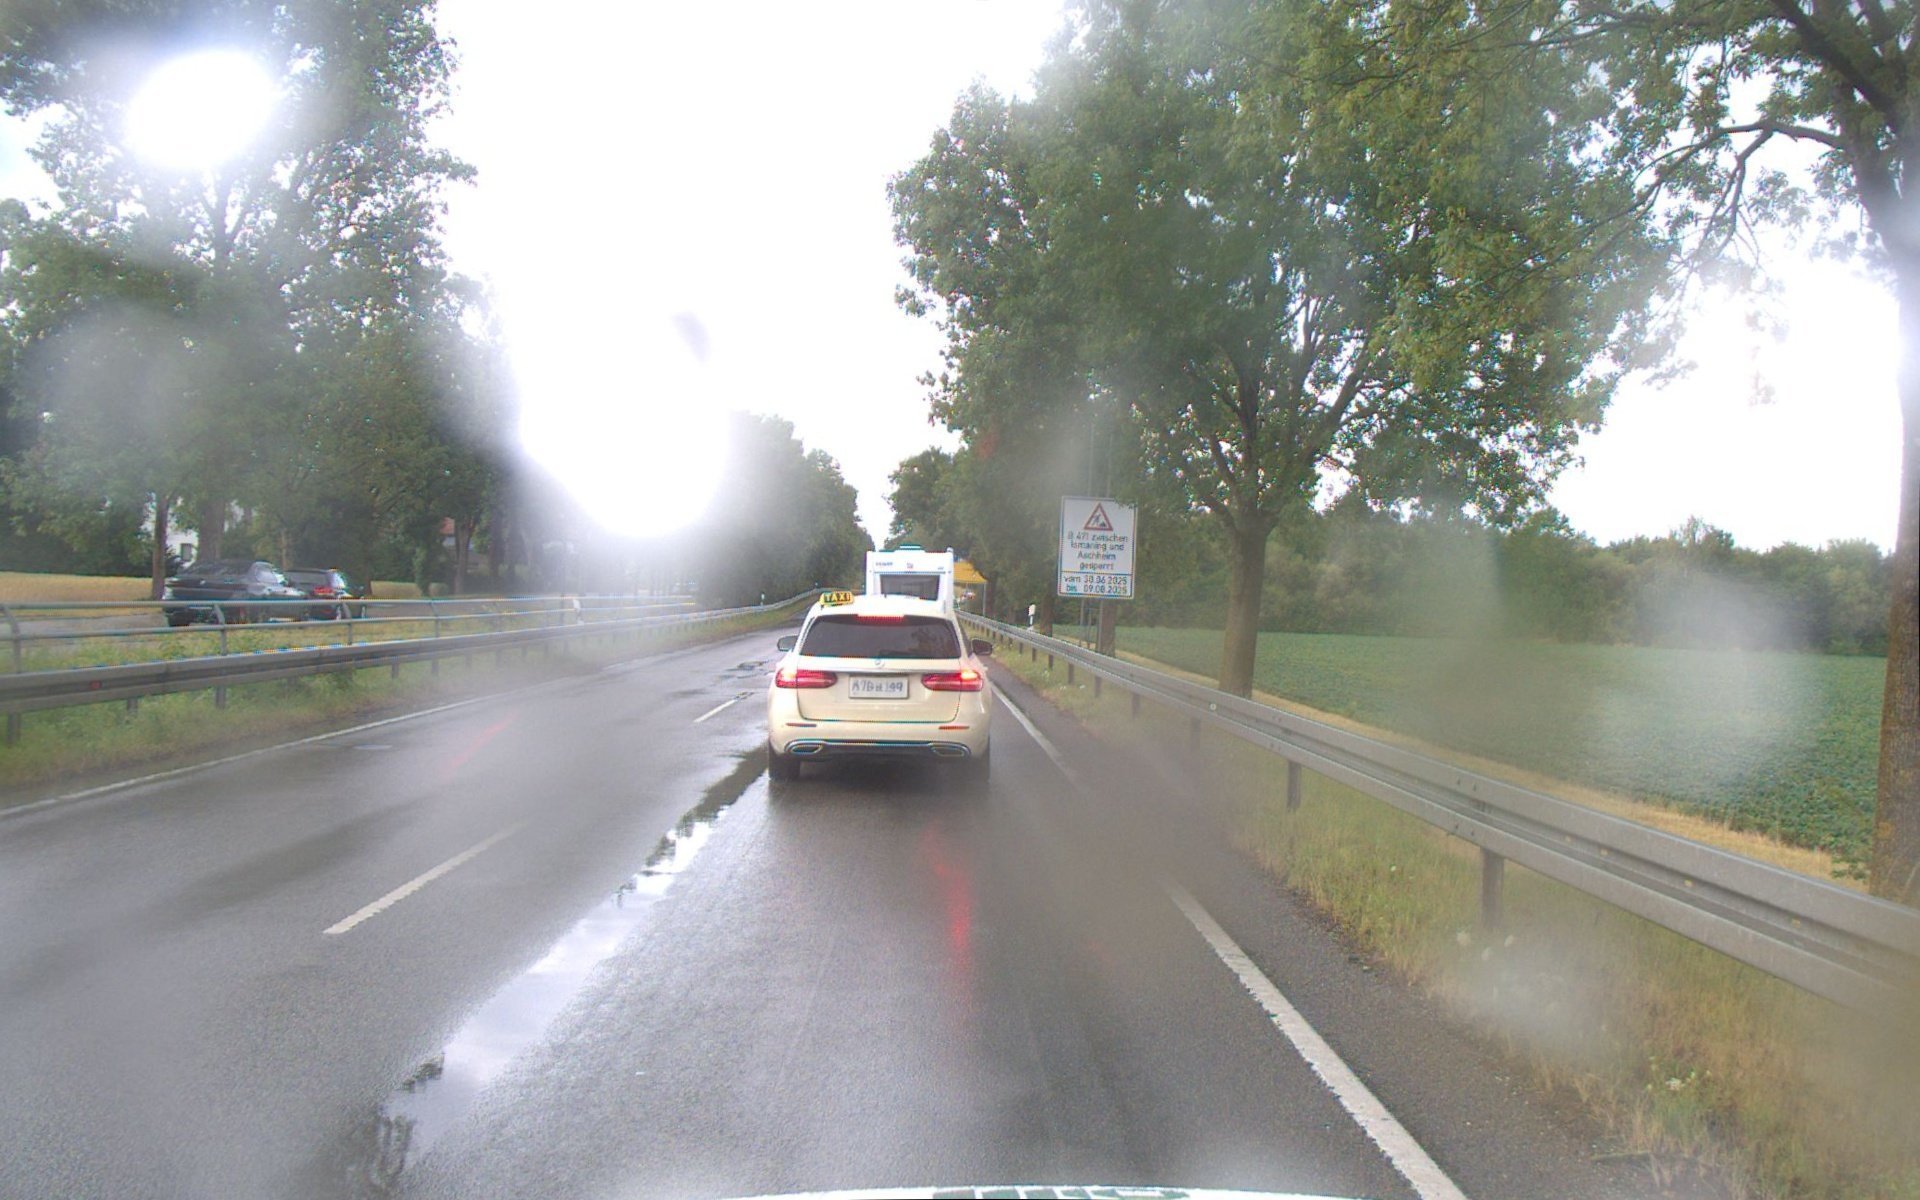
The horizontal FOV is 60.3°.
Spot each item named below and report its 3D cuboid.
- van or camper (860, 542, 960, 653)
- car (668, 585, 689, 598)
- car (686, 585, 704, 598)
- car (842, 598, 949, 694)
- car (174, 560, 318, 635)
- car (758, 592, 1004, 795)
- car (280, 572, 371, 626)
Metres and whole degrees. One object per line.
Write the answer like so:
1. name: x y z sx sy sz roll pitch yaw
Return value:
1. van or camper: -1.288 -0.073 44.321 2.439 2.732 5.699 1 0 -1
2. car: -32.382 -0.967 190.275 1.749 1.440 3.999 2 0 -1
3. car: -32.596 -1.035 203.688 1.750 1.440 3.997 2 0 -3
4. car: -1.024 0.702 27.459 1.630 1.456 3.999 1 0 -1
5. car: -16.100 -0.077 37.544 1.486 1.517 5.115 2 0 -6
6. car: -0.616 0.694 14.375 1.827 1.502 3.999 1 0 -1
7. car: -16.797 -0.041 43.913 1.258 1.354 3.893 2 0 -6
